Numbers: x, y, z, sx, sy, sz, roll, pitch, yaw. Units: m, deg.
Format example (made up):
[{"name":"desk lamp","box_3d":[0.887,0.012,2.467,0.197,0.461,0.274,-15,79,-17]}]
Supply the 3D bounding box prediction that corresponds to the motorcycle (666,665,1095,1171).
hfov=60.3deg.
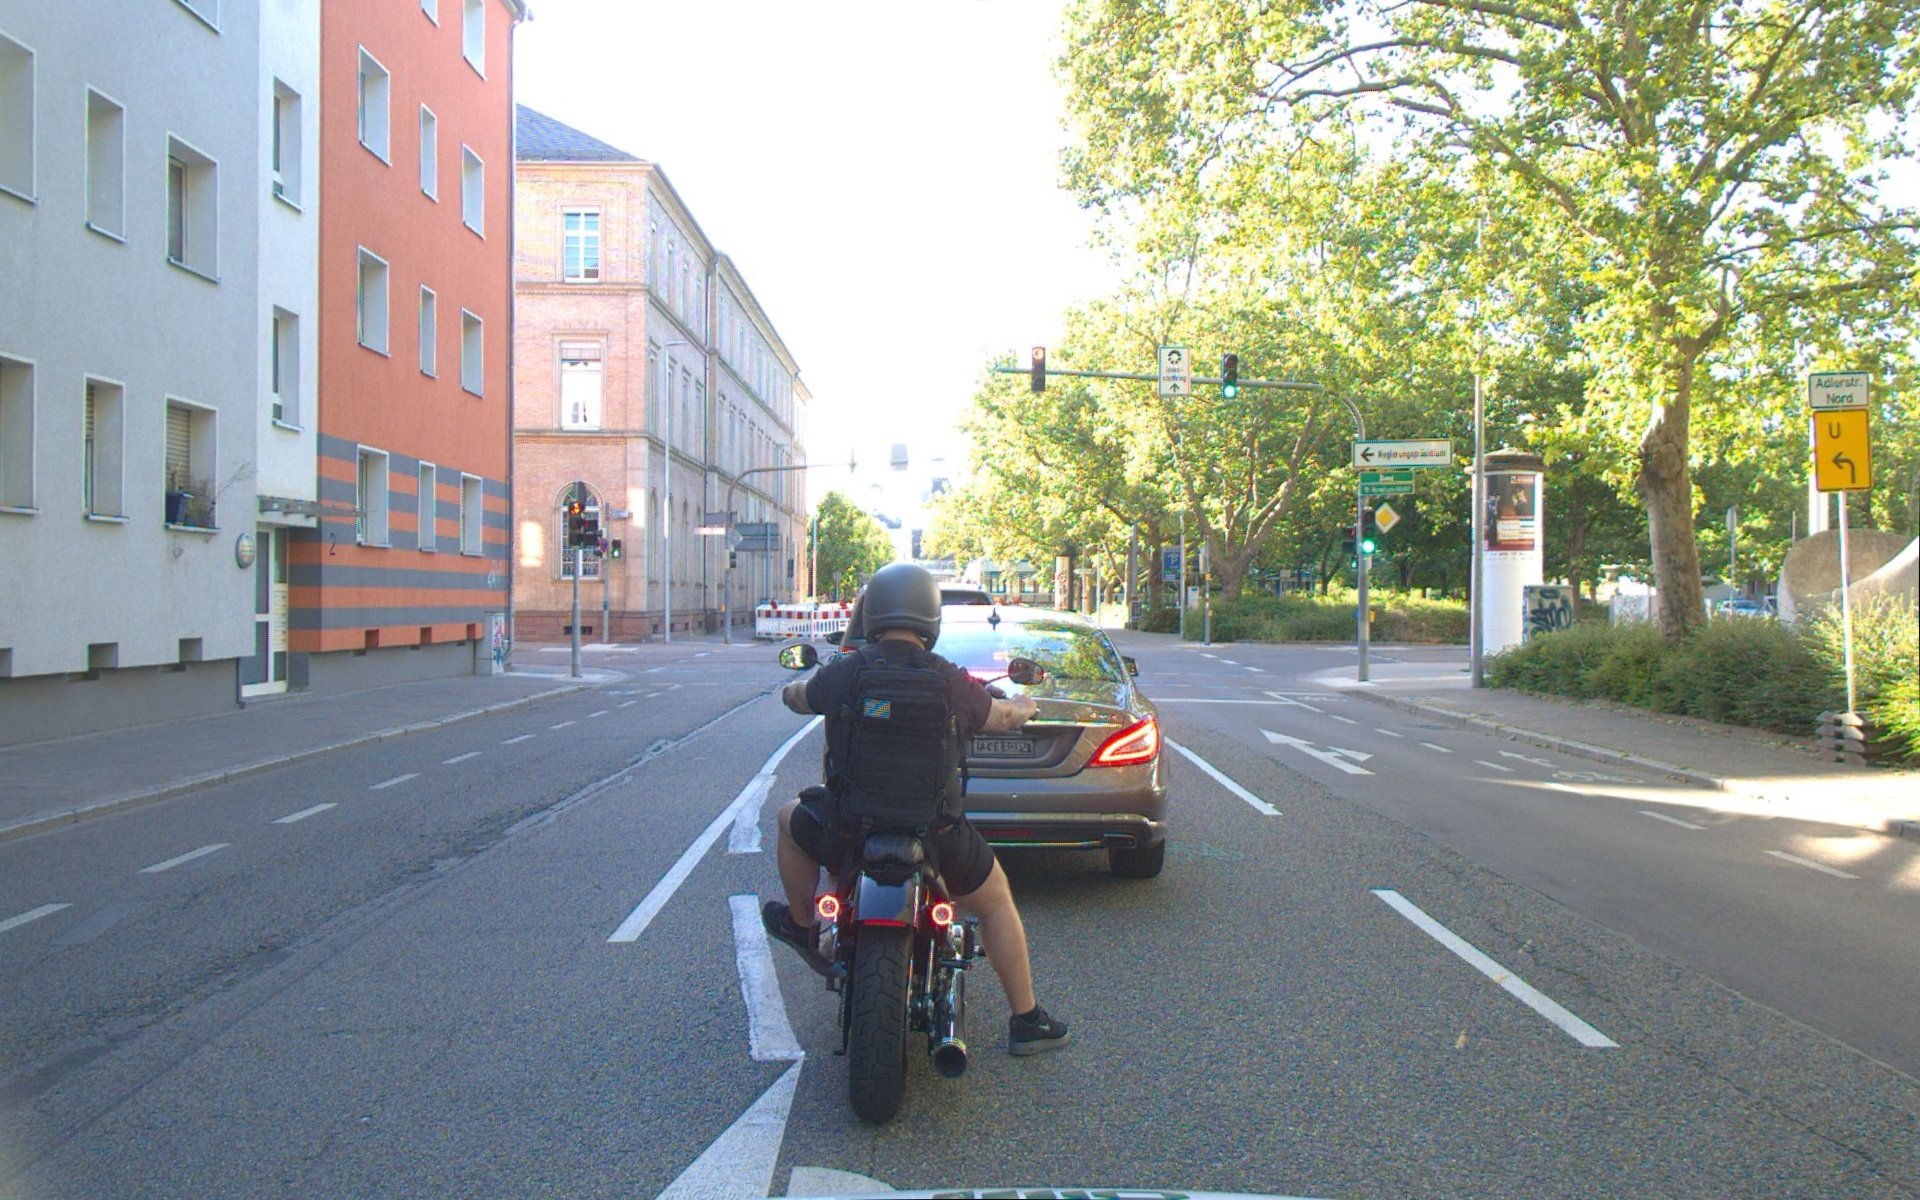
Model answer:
[{"name":"motorcycle","box_3d":[-0.127,0.876,5.486,1.094,1.228,2.213,1,0,5]}]

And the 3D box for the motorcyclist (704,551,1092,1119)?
[{"name":"motorcyclist","box_3d":[-0.140,0.666,5.265,1.076,1.593,1.072,1,0,5]}]

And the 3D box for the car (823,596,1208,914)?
[{"name":"car","box_3d":[0.235,0.735,9.658,1.785,1.462,3.805,1,0,-1]}]

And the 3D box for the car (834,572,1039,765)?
[{"name":"car","box_3d":[-0.238,0.626,16.930,1.825,1.707,3.999,1,0,-1]}]

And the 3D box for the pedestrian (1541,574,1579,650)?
[{"name":"pedestrian","box_3d":[14.540,0.280,40.118,0.720,1.809,0.730,1,-1,9]}]
